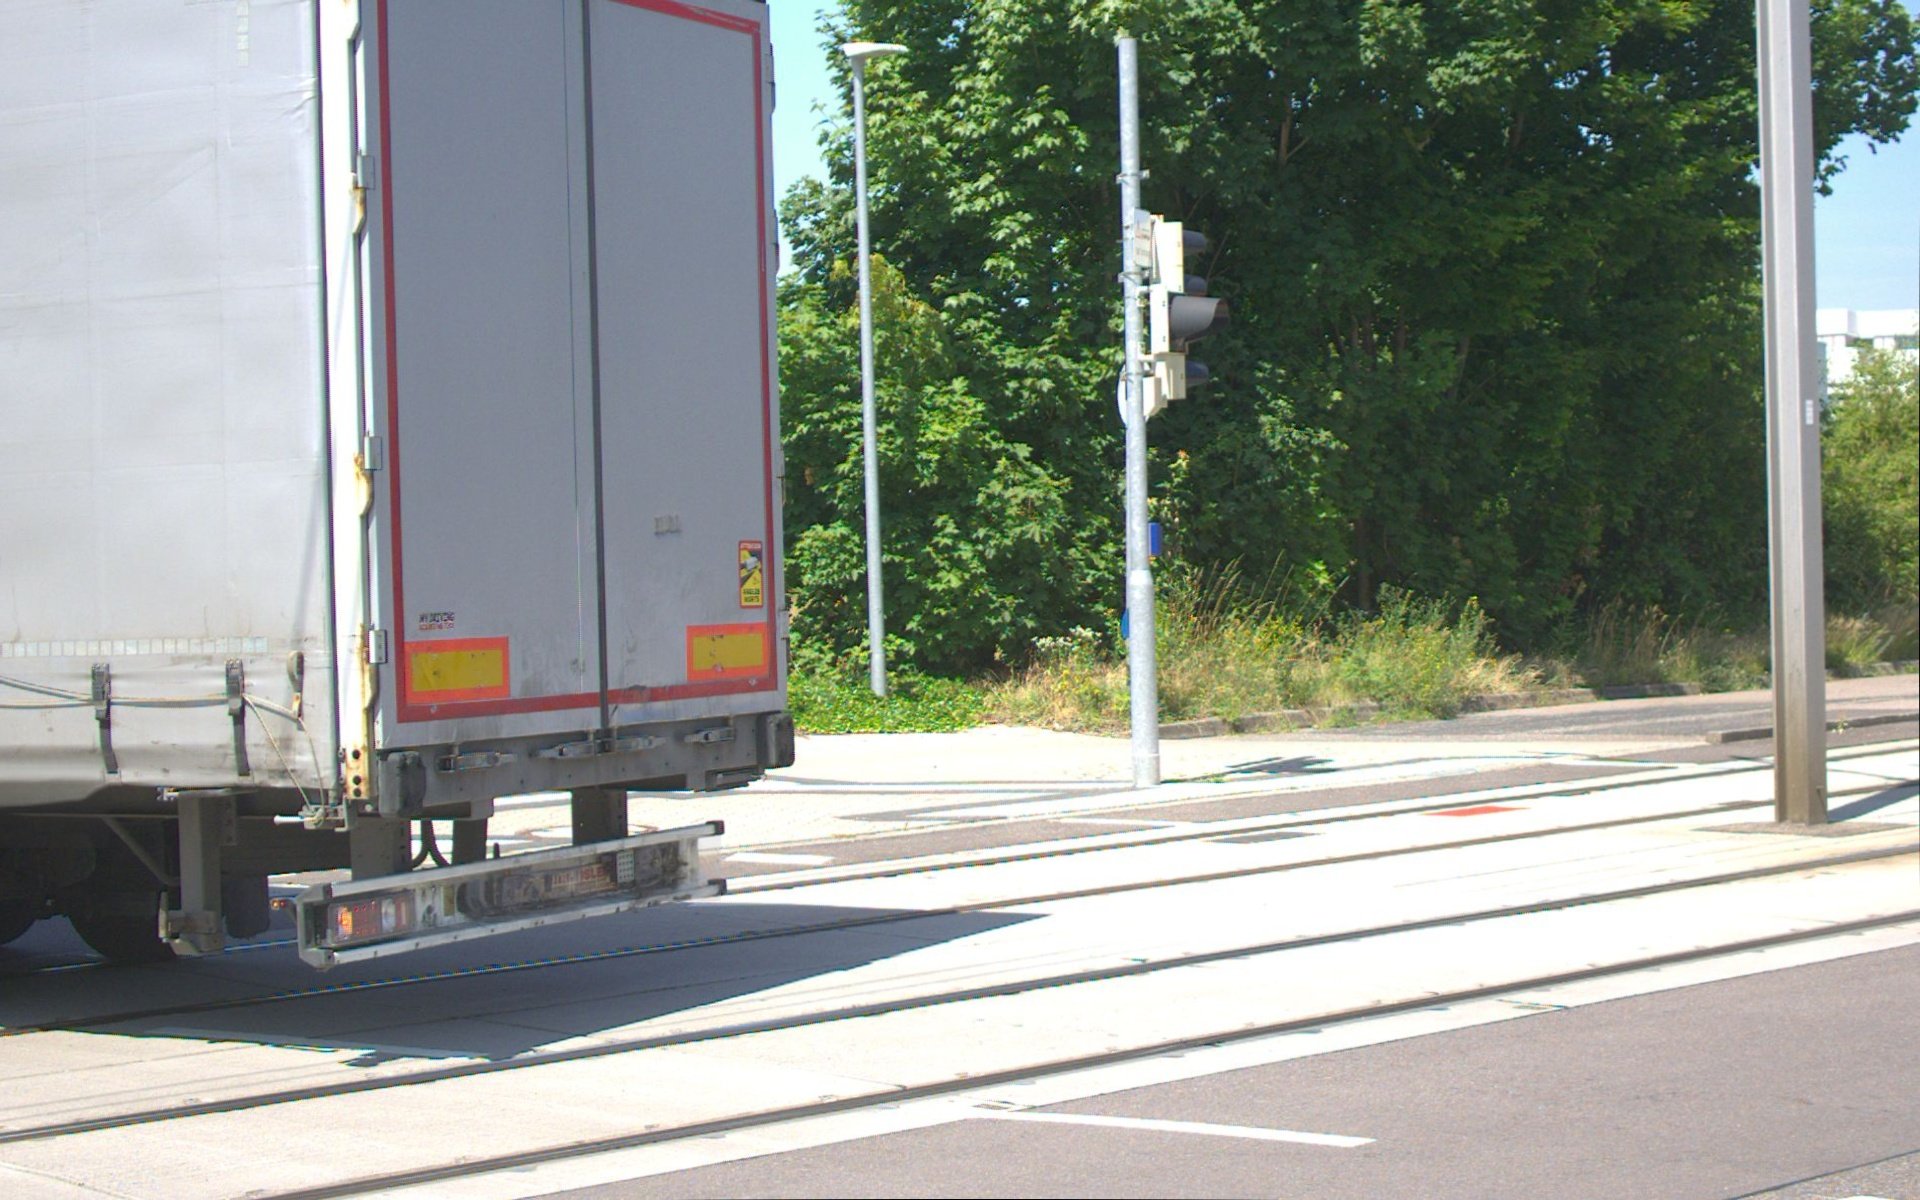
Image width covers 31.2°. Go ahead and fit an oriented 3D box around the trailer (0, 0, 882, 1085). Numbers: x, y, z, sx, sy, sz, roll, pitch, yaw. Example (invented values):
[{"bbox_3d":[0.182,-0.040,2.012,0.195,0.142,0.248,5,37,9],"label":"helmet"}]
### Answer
[{"bbox_3d":[-5.367,-0.553,13.946,9.791,4.056,3.082,-1,1,29],"label":"trailer"}]
